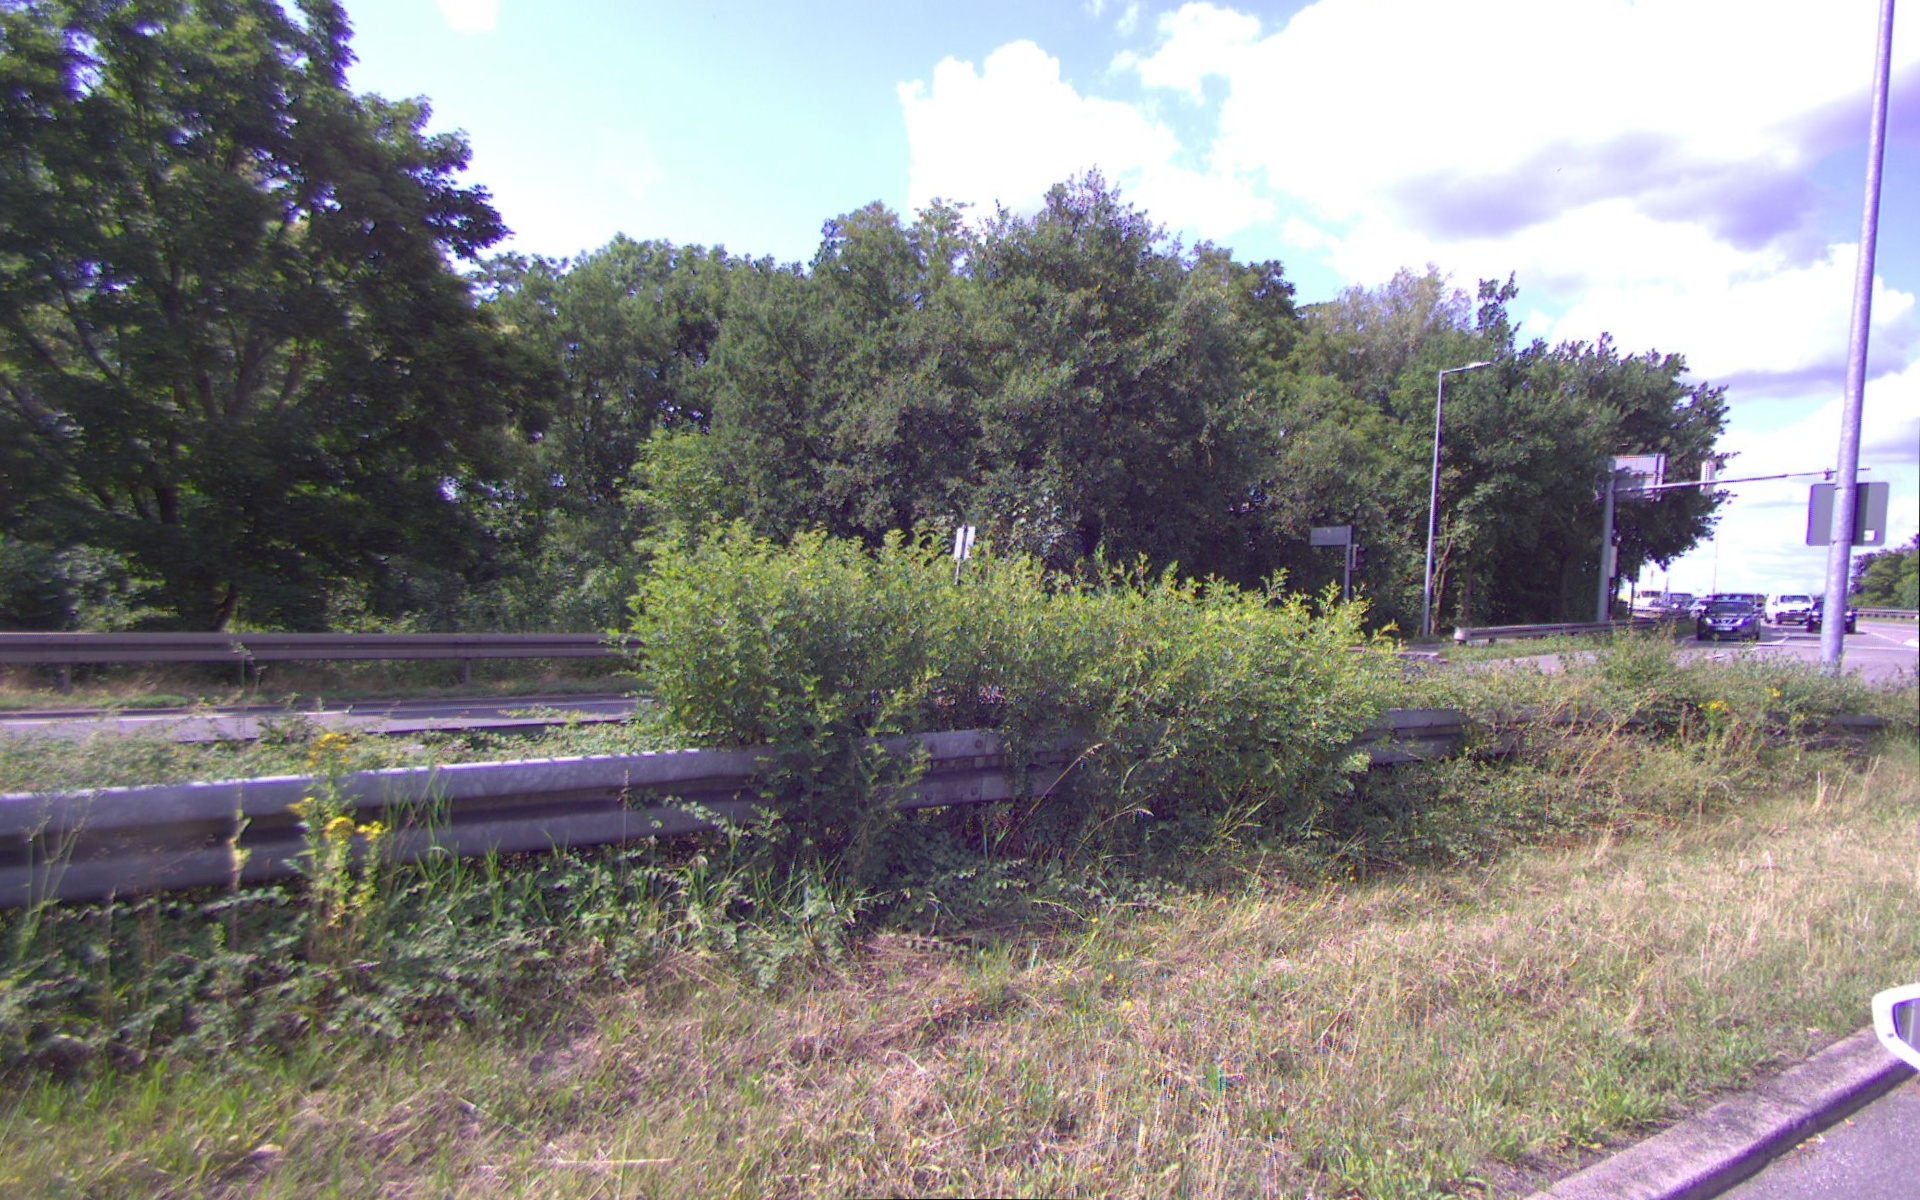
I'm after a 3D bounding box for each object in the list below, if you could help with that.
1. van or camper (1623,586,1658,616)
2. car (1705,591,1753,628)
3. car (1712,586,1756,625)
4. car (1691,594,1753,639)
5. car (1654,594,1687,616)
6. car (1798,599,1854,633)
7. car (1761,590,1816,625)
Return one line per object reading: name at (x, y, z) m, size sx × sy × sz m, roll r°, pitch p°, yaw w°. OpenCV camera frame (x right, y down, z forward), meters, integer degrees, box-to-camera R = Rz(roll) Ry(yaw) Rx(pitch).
van or camper at (64.692, 0.061, 95.526) m, size 1.963 × 2.719 × 6.852 m, roll 2°, pitch 1°, yaw 28°
car at (39.954, 0.485, 52.129) m, size 1.820 × 1.826 × 4.307 m, roll 2°, pitch 1°, yaw 39°
car at (44.861, 0.335, 58.263) m, size 1.819 × 2.128 × 4.311 m, roll 2°, pitch 1°, yaw 36°
car at (30.487, 0.679, 40.154) m, size 1.816 × 1.639 × 3.982 m, roll 2°, pitch 0°, yaw 39°
car at (58.031, 0.402, 82.080) m, size 1.817 × 1.728 × 4.316 m, roll 2°, pitch 1°, yaw 32°
car at (41.833, 0.734, 48.593) m, size 1.709 × 1.516 × 4.031 m, roll 2°, pitch 1°, yaw 37°
car at (51.539, 0.458, 62.573) m, size 1.965 × 2.041 × 4.459 m, roll 2°, pitch 1°, yaw 31°
